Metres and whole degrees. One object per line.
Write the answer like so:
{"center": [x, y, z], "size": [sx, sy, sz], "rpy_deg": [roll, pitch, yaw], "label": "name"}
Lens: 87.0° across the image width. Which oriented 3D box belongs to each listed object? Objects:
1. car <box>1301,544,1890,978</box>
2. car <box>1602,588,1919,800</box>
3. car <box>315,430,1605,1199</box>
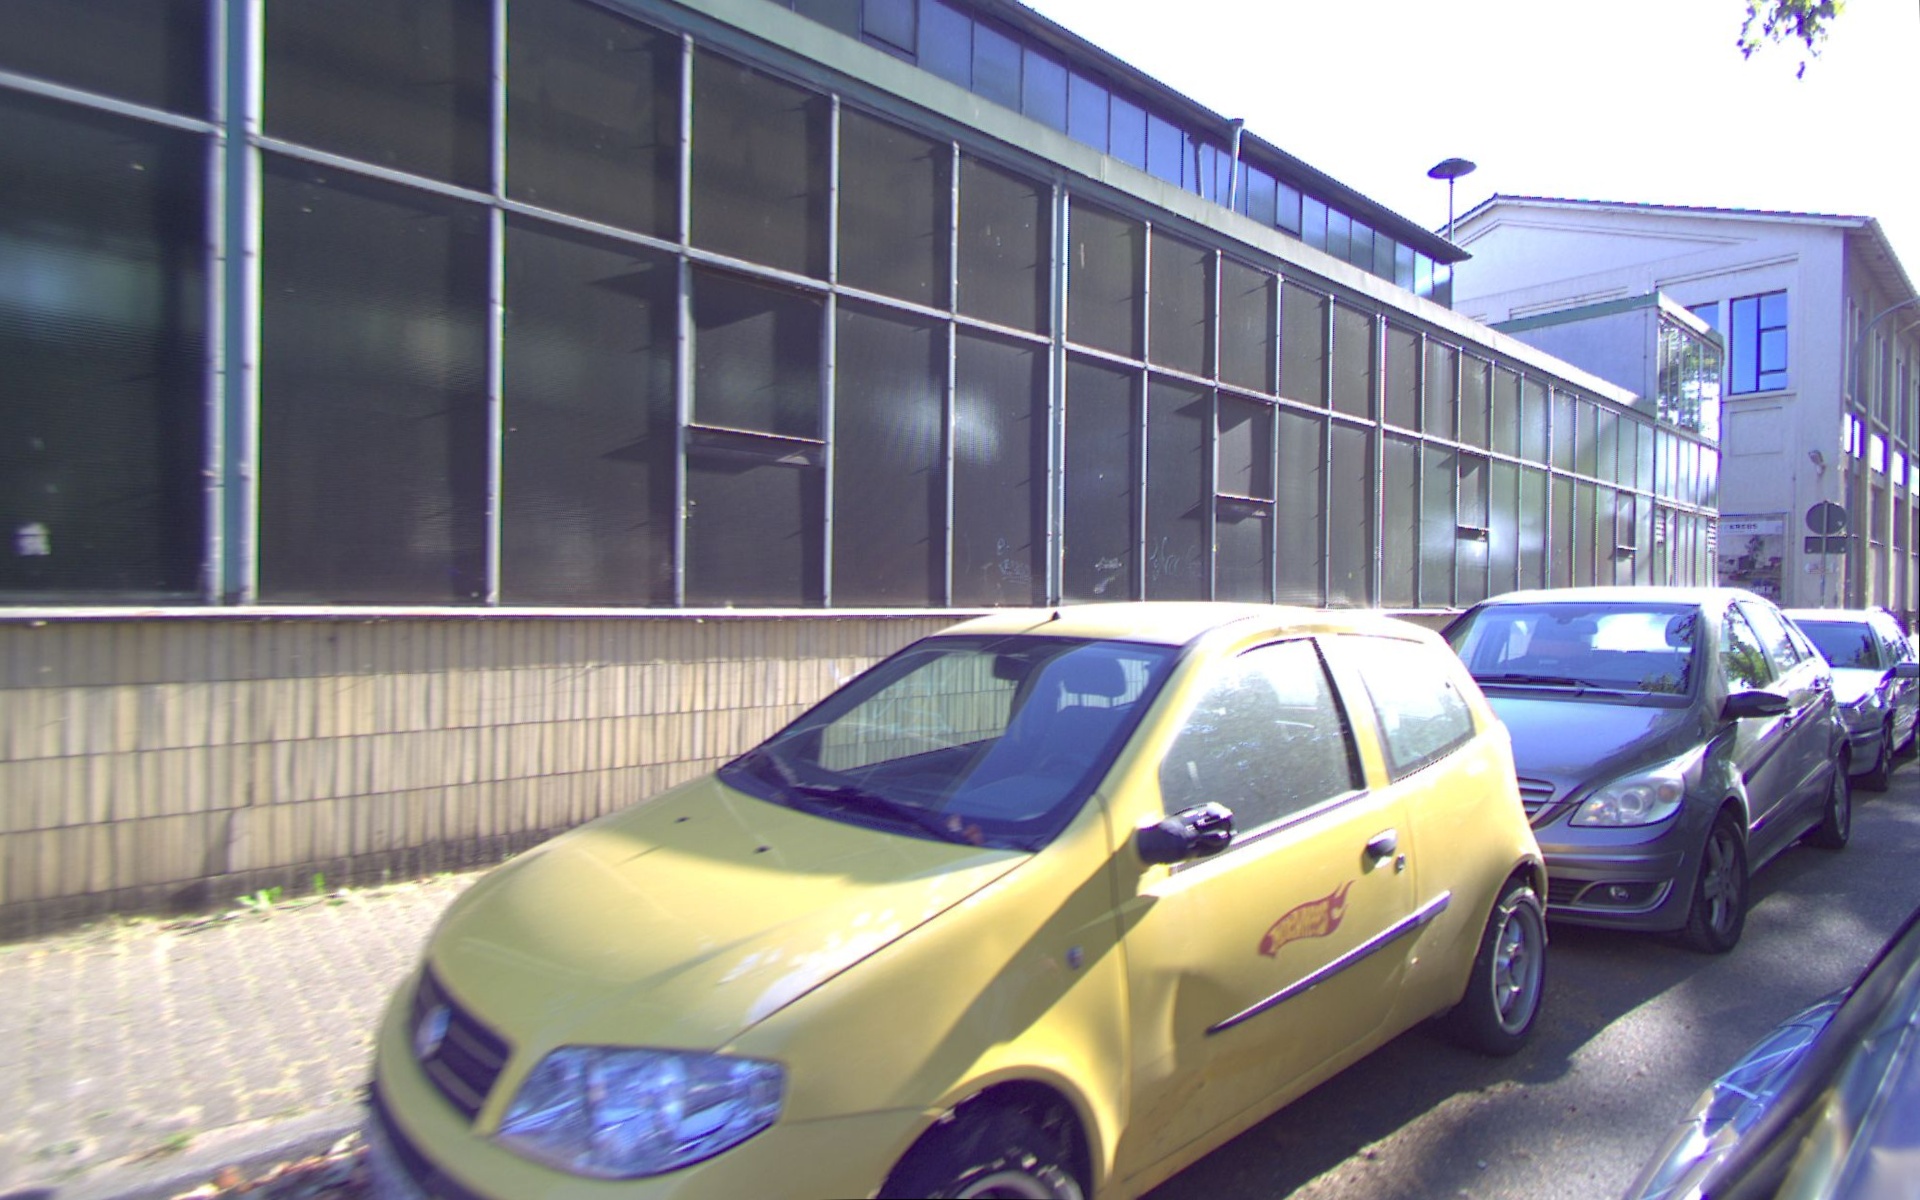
{"center": [3.924, 0.593, 5.921], "size": [4.234, 1.655, 1.754], "rpy_deg": [-1, 0, -41], "label": "car"}
{"center": [7.768, 0.653, 9.472], "size": [4.452, 1.512, 1.902], "rpy_deg": [-1, 0, -43], "label": "car"}
{"center": [0.436, 0.606, 3.184], "size": [3.934, 1.655, 1.752], "rpy_deg": [-1, 0, -43], "label": "car"}
